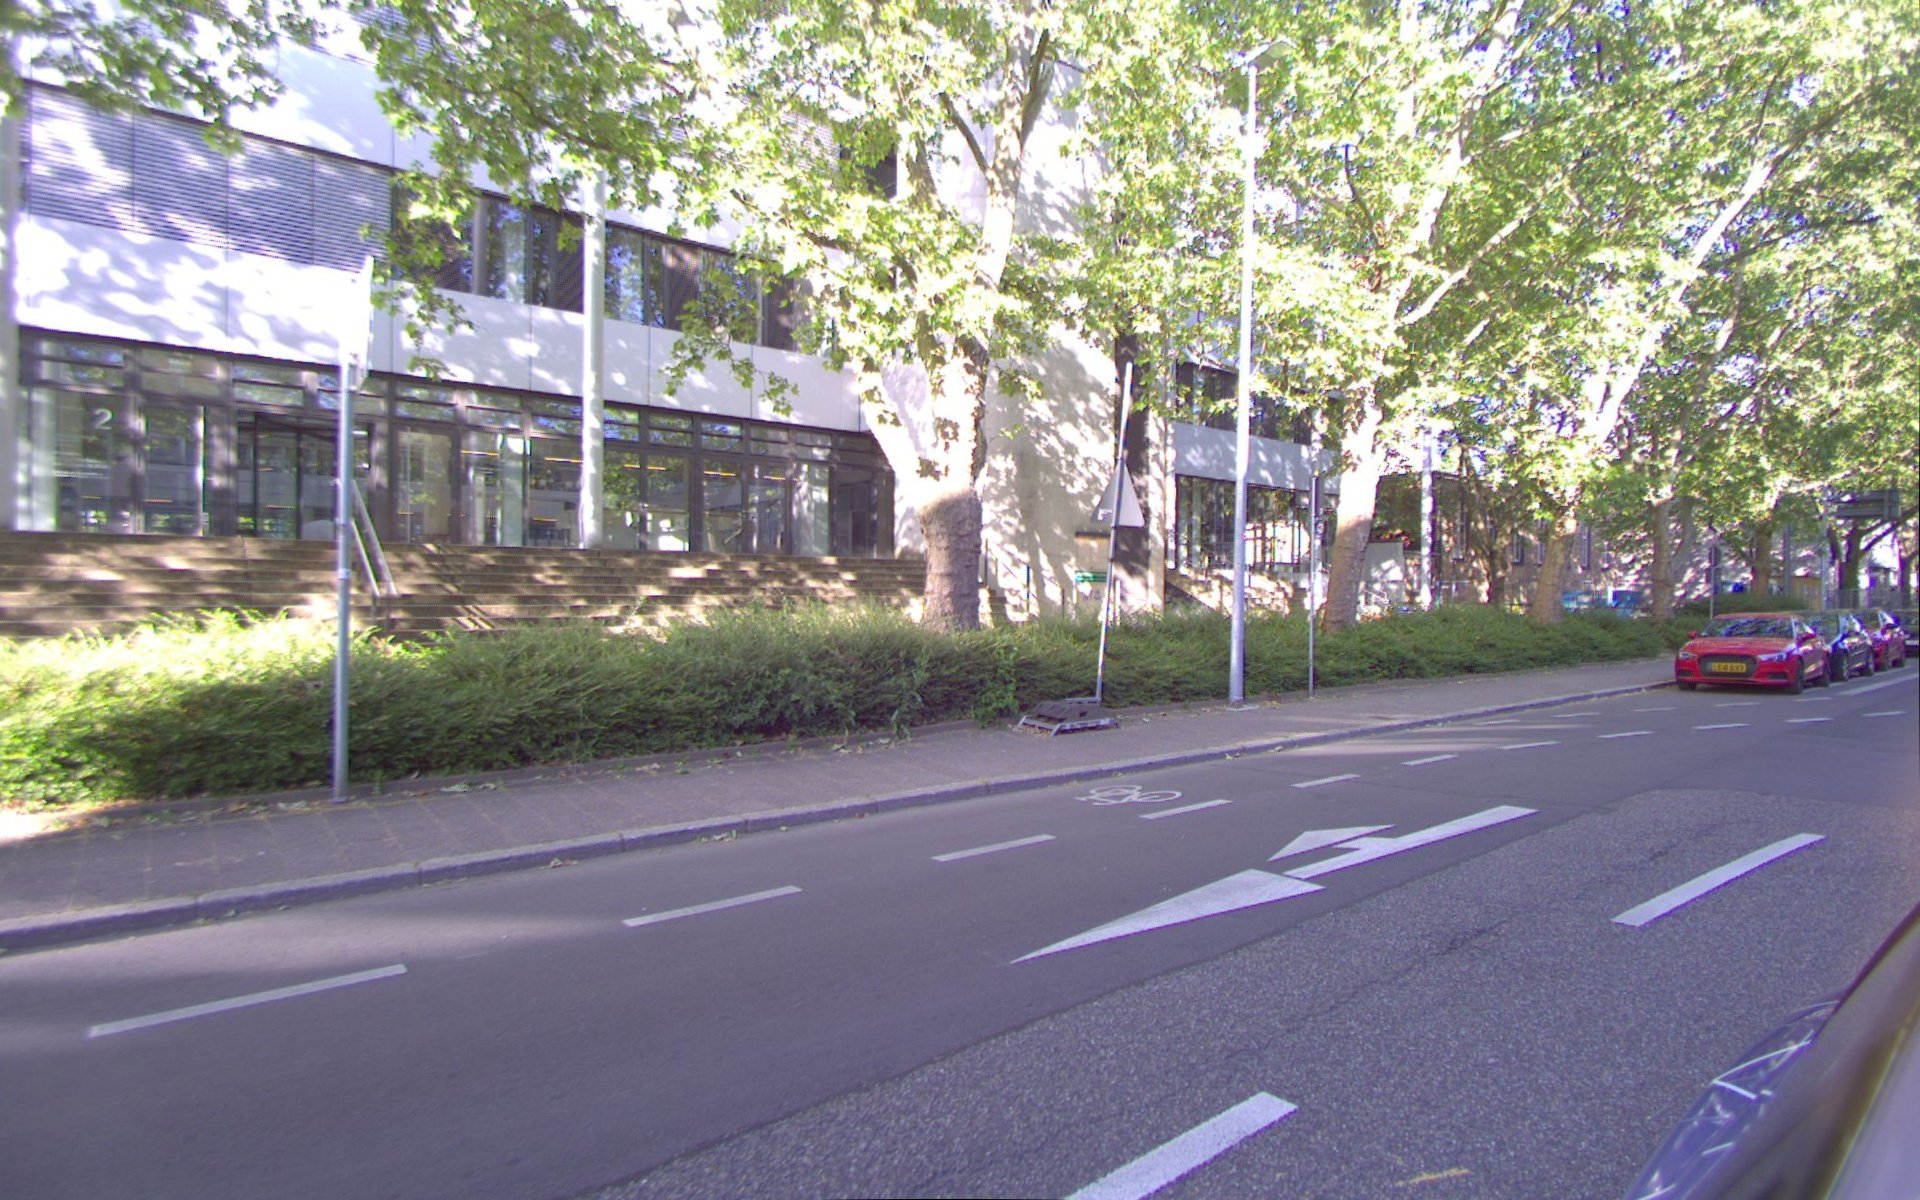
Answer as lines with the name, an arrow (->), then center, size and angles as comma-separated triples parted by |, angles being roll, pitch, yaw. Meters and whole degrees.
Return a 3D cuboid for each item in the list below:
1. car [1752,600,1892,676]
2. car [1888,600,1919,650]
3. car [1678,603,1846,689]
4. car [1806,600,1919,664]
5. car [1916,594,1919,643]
car -> 18.628, 0.757, 21.819 | 3.929, 1.486, 1.685 | 0, -1, -40
car -> 30.014, 0.735, 31.149 | 3.929, 1.469, 1.685 | 0, 0, -40
car -> 15.006, 0.799, 18.863 | 3.960, 1.439, 1.722 | 0, -2, -41
car -> 22.494, 0.738, 25.137 | 3.714, 1.452, 1.665 | 0, 0, -40
car -> 33.570, 0.612, 34.033 | 3.768, 1.640, 1.685 | 0, 0, -40
